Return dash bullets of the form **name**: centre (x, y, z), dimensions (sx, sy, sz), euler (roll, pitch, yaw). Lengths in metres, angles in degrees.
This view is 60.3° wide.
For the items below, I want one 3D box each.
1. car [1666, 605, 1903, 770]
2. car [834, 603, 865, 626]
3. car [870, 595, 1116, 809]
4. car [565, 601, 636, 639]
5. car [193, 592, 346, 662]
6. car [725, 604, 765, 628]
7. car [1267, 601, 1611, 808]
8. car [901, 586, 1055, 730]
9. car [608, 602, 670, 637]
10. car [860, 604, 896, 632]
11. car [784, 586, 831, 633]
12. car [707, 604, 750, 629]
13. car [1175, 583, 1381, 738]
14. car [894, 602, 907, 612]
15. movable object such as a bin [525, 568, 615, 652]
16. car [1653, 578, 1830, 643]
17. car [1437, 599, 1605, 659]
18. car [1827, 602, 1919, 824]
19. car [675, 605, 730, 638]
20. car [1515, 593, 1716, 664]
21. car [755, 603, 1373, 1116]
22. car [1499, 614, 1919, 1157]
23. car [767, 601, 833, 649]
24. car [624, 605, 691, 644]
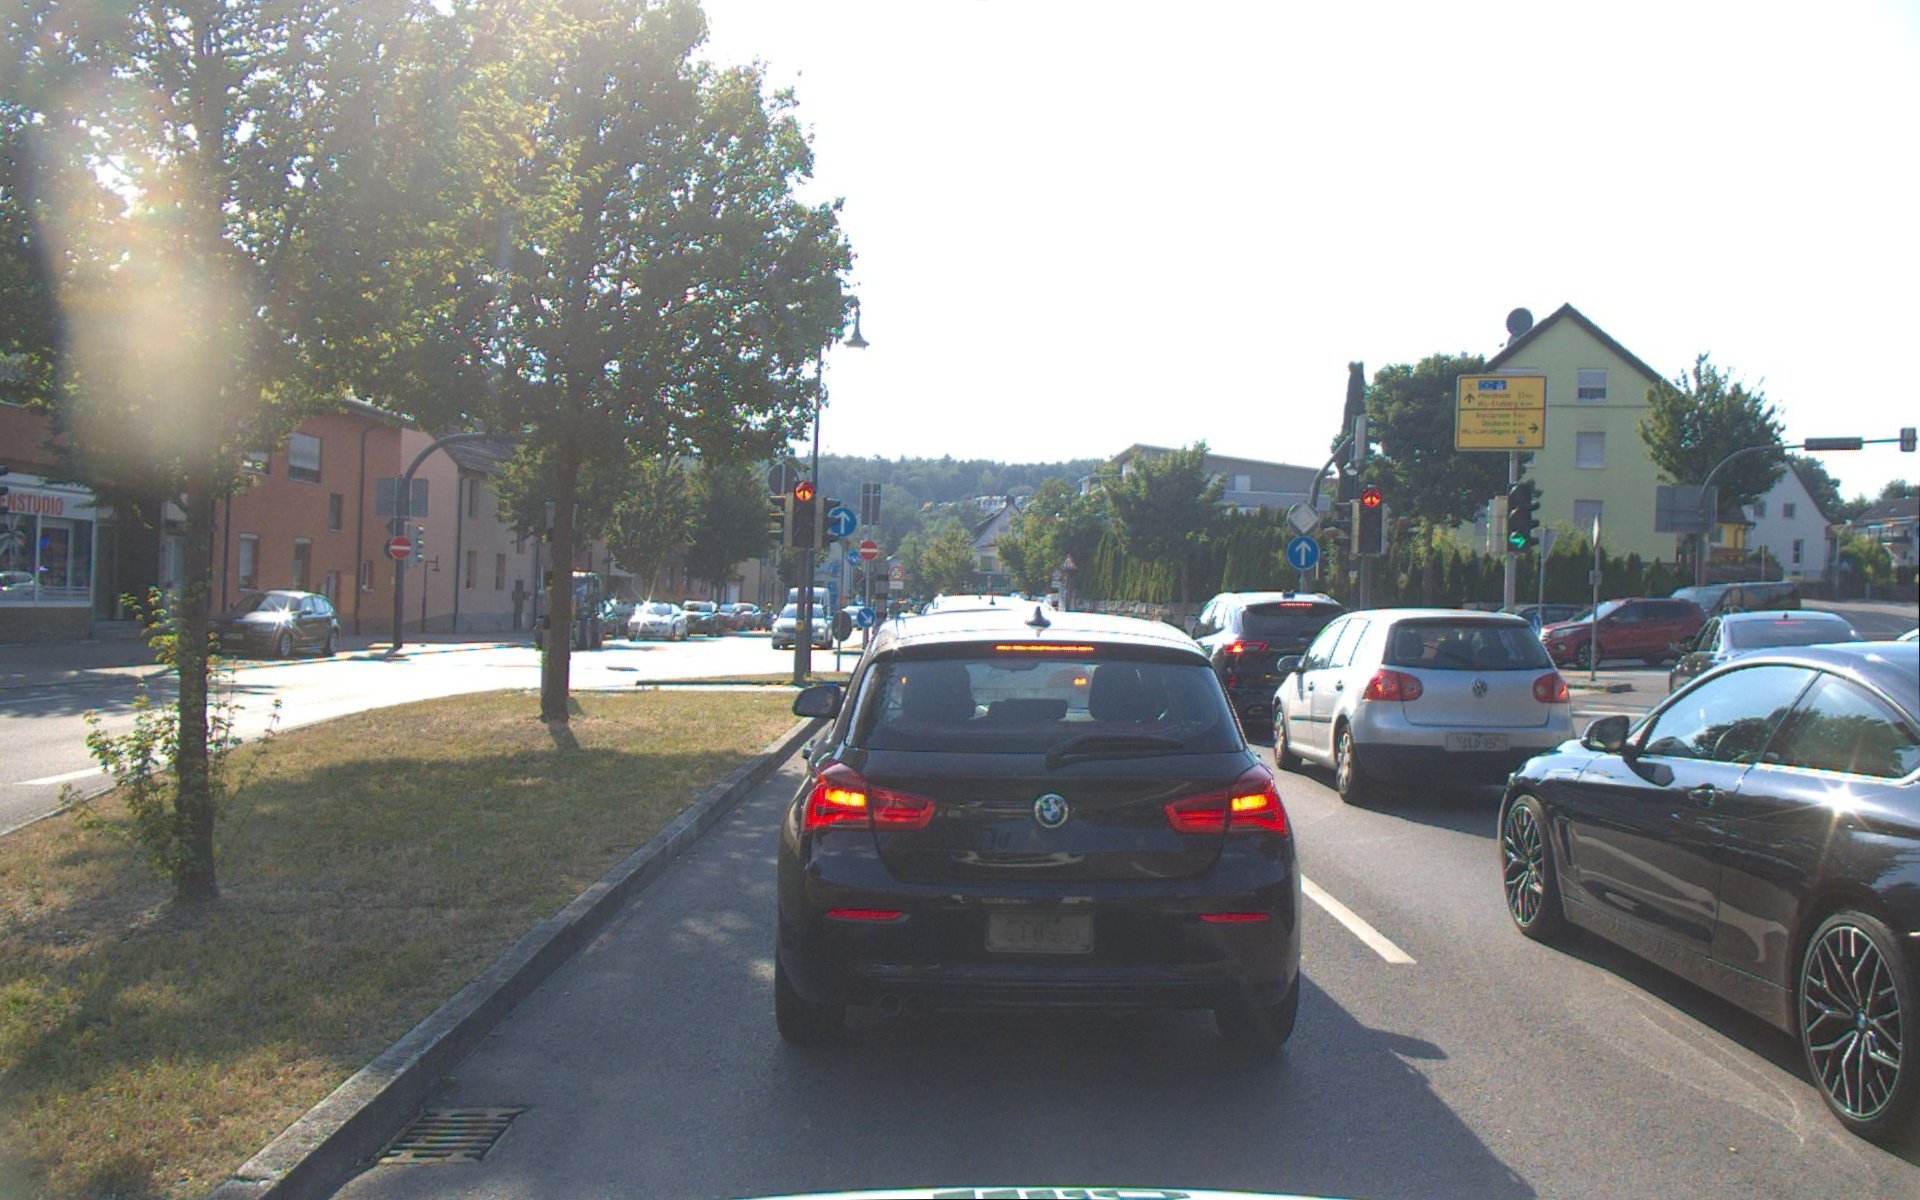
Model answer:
- **car**: centre (9.042, 0.864, 18.479), dimensions (1.621, 1.569, 4.401), euler (-1, 0, 17)
- **car**: centre (-7.677, 0.983, 114.976), dimensions (1.801, 1.508, 4.001), euler (1, 0, 1)
- **car**: centre (0.234, 0.722, 14.002), dimensions (1.751, 1.520, 4.280), euler (-1, 0, 0)
- **car**: centre (-14.506, 0.805, 66.924), dimensions (1.701, 1.323, 4.001), euler (5, 0, 3)
- **car**: centre (-15.477, 0.573, 37.310), dimensions (1.702, 1.323, 3.999), euler (5, 0, -1)
- **car**: centre (-13.316, 0.975, 102.651), dimensions (1.701, 1.323, 3.800), euler (5, 0, 2)
- **car**: centre (3.789, 0.749, 13.794), dimensions (1.725, 1.451, 3.902), euler (-1, 0, 0)
- **car**: centre (0.204, 0.655, 21.042), dimensions (1.751, 1.622, 4.280), euler (-1, 0, 0)
- **car**: centre (-14.121, 0.838, 72.991), dimensions (1.701, 1.323, 4.001), euler (5, 0, 2)
- **car**: centre (-4.605, 1.015, 93.180), dimensions (1.801, 1.508, 4.000), euler (1, 0, 0)
- **car**: centre (-8.282, 0.524, 90.231), dimensions (2.042, 2.435, 5.527), euler (1, 0, -1)
- **car**: centre (-13.549, 0.951, 96.949), dimensions (1.701, 1.323, 3.800), euler (5, 0, 2)
- **car**: centre (3.742, 0.657, 20.076), dimensions (1.725, 1.685, 3.902), euler (-1, 0, 0)
- **car**: centre (-9.015, 1.073, 250.628), dimensions (1.701, 1.323, 3.800), euler (5, 0, 2)
- **movable object such as a bin**: centre (-11.946, 0.301, 50.946), dimensions (1.701, 2.485, 4.449), euler (0, 0, 0)
- **car**: centre (22.559, 0.302, 47.739), dimensions (4.697, 1.770, 1.838), euler (1, 0, -20)
- **car**: centre (15.163, 0.779, 44.854), dimensions (3.907, 1.515, 1.847), euler (1, 0, -3)
- **car**: centre (7.618, 0.809, 11.646), dimensions (1.583, 1.569, 3.320), euler (-1, 0, 6)
- **car**: centre (-11.847, 0.977, 76.187), dimensions (1.701, 1.323, 3.800), euler (5, 0, 2)
- **car**: centre (16.320, 0.706, 41.275), dimensions (4.333, 1.670, 1.845), euler (1, 0, -8)
- **car**: centre (0.293, 0.742, 6.857), dimensions (1.751, 1.422, 4.280), euler (-1, 0, 0)
- **car**: centre (3.468, 0.793, 5.838), dimensions (1.725, 1.422, 4.280), euler (-1, 0, 0)
- **car**: centre (-5.314, 0.808, 55.426), dimensions (1.801, 1.508, 4.000), euler (1, 0, 0)
- **car**: centre (-11.953, 0.946, 65.552), dimensions (1.701, 1.323, 3.800), euler (5, 0, 2)
